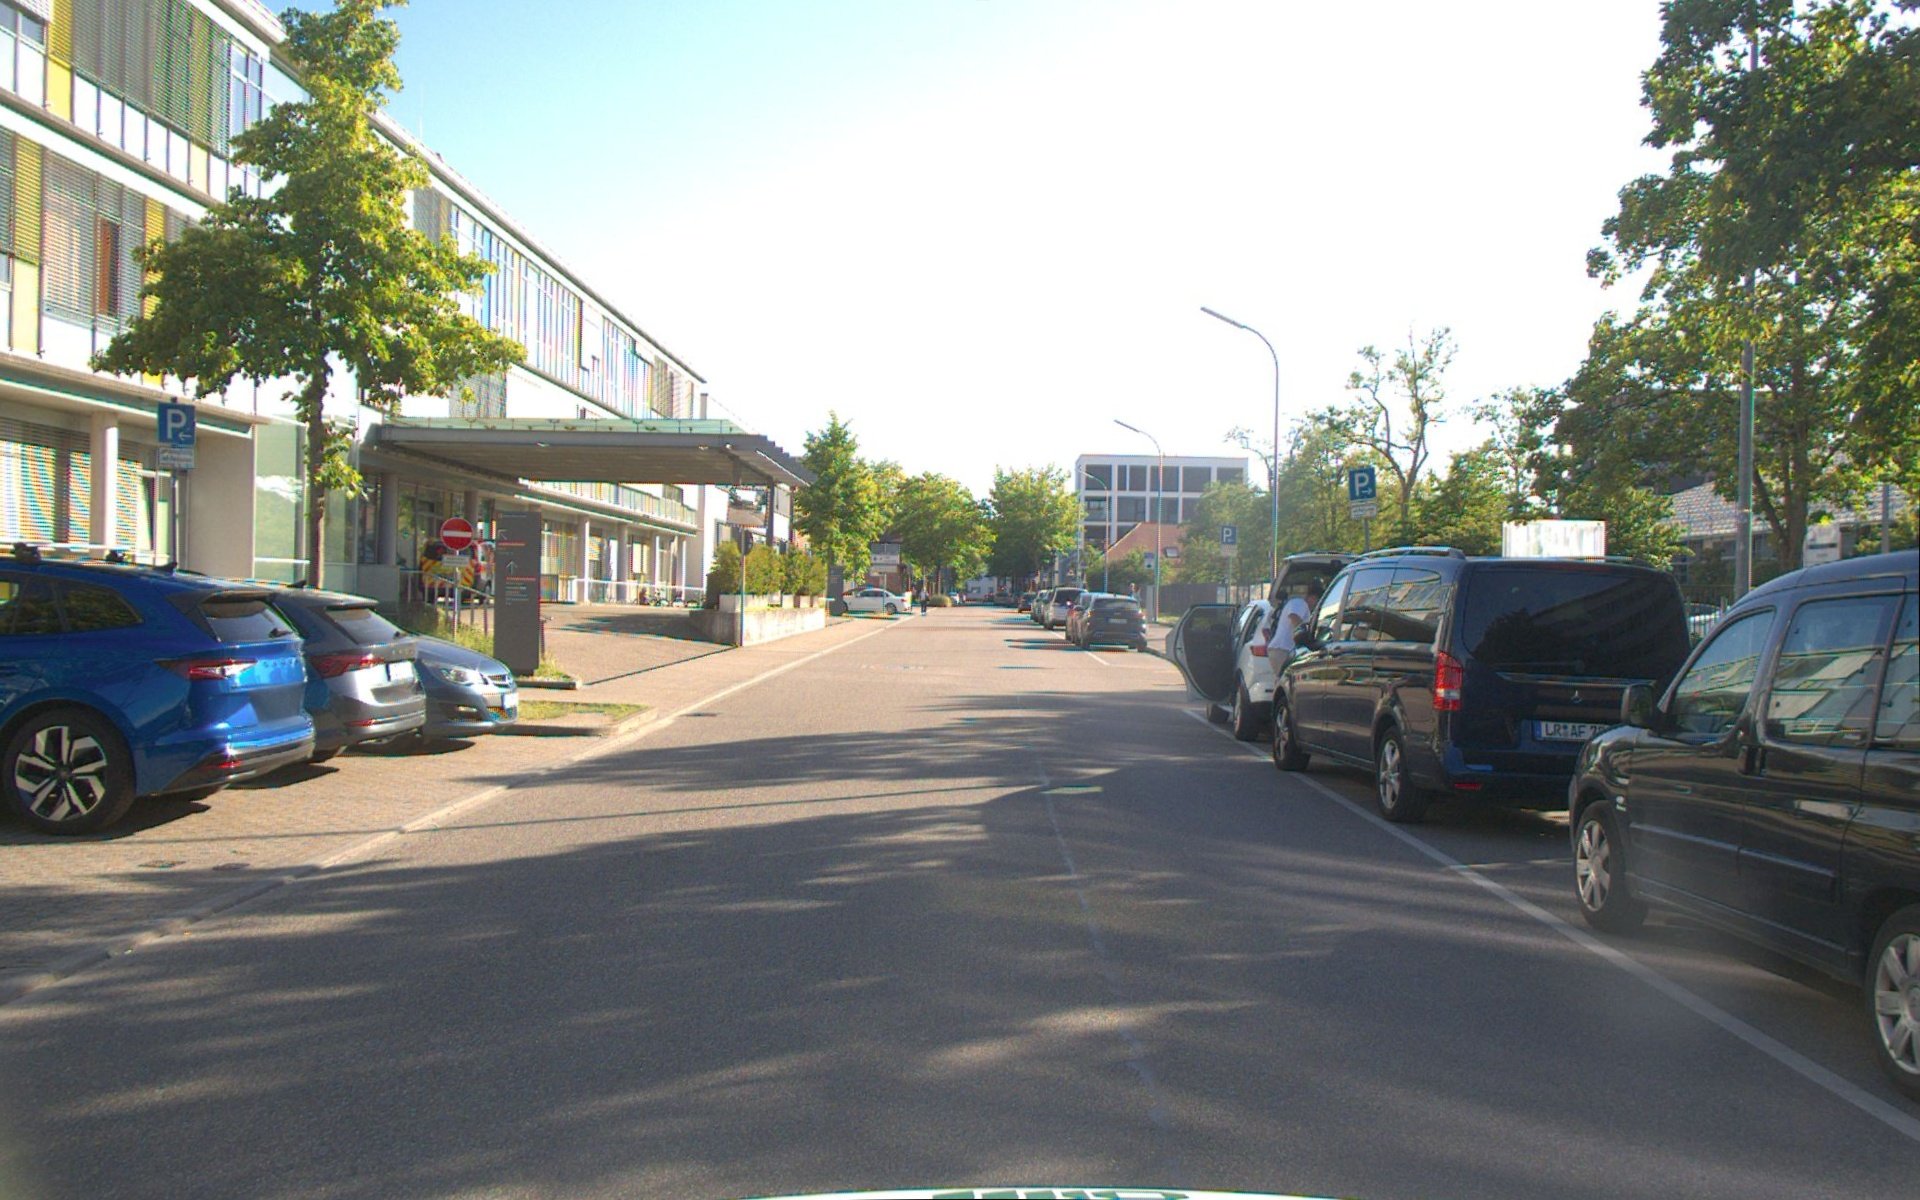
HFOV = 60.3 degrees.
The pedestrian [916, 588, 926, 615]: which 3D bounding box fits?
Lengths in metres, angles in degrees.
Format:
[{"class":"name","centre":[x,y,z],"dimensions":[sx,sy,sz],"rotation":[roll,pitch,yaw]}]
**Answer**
[{"class":"pedestrian","centre":[-2.266,0.062,95.984],"dimensions":[0.527,1.550,0.607],"rotation":[1,0,2]}]

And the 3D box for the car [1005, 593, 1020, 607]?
[{"class":"car","centre":[6.607,-0.006,209.427],"dimensions":[1.910,1.606,3.837],"rotation":[1,0,1]}]

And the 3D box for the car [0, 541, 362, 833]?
[{"class":"car","centre":[-6.273,0.472,10.602],"dimensions":[4.135,1.680,1.960],"rotation":[1,0,-2]}]

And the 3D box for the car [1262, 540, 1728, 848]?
[{"class":"car","centre":[3.901,0.581,13.133],"dimensions":[1.827,1.902,5.020],"rotation":[2,0,-2]}]

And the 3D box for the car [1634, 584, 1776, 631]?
[{"class":"car","centre":[23.866,0.226,53.050],"dimensions":[3.810,1.404,1.674],"rotation":[1,0,-3]}]

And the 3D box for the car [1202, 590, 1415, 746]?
[{"class":"car","centre":[3.913,0.688,19.201],"dimensions":[1.630,1.540,4.115],"rotation":[3,0,1]}]

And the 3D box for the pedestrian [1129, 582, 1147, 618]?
[{"class":"pedestrian","centre":[8.282,-0.006,76.965],"dimensions":[0.667,1.639,0.540],"rotation":[3,-1,-2]}]

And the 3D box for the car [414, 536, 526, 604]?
[{"class":"car","centre":[-14.573,-0.877,49.465],"dimensions":[1.880,1.924,4.711],"rotation":[1,0,0]}]

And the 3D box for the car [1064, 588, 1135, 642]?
[{"class":"car","centre":[4.356,0.439,52.129],"dimensions":[1.772,1.536,4.722],"rotation":[3,0,0]}]

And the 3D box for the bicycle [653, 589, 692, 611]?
[{"class":"bicycle","centre":[-13.064,-0.007,75.257],"dimensions":[1.680,1.011,0.536],"rotation":[1,0,-1]}]

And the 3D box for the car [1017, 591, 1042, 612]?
[{"class":"car","centre":[4.977,0.077,119.120],"dimensions":[1.780,1.478,4.215],"rotation":[1,0,2]}]

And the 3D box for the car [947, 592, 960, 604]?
[{"class":"car","centre":[-0.883,-0.275,220.111],"dimensions":[1.731,1.513,3.999],"rotation":[1,0,-1]}]

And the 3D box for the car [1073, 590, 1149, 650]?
[{"class":"car","centre":[4.184,0.522,46.346],"dimensions":[1.666,1.513,4.215],"rotation":[3,0,0]}]

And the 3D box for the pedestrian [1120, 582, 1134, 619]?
[{"class":"pedestrian","centre":[7.858,0.021,77.653],"dimensions":[0.510,1.738,0.522],"rotation":[3,-1,-2]}]

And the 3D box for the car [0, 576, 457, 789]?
[{"class":"car","centre":[-6.155,0.590,12.897],"dimensions":[3.907,1.463,1.730],"rotation":[2,0,-2]}]

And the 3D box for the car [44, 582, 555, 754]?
[{"class":"car","centre":[-6.028,0.590,15.443],"dimensions":[4.047,1.492,1.753],"rotation":[0,0,-1]}]

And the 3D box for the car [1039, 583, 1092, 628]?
[{"class":"car","centre":[4.330,0.197,68.487],"dimensions":[1.772,1.752,4.704],"rotation":[3,0,0]}]

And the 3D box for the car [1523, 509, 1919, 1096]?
[{"class":"car","centre":[3.863,0.649,6.718],"dimensions":[1.667,1.826,4.295],"rotation":[3,0,1]}]

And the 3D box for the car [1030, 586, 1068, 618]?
[{"class":"car","centre":[4.884,0.096,91.364],"dimensions":[1.776,1.616,4.261],"rotation":[3,0,-1]}]

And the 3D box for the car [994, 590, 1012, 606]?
[{"class":"car","centre":[4.410,-0.213,170.445],"dimensions":[1.731,1.575,4.065],"rotation":[1,0,-1]}]

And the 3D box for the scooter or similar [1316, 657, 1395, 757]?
[{"class":"scooter or similar","centre":[3.967,1.056,16.567],"dimensions":[0.677,0.921,0.705],"rotation":[3,0,19]}]

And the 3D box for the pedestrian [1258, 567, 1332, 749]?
[{"class":"pedestrian","centre":[3.404,0.576,16.770],"dimensions":[0.576,1.776,0.705],"rotation":[3,0,19]}]

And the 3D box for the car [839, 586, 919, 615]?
[{"class":"car","centre":[-4.591,0.009,93.941],"dimensions":[4.423,1.391,1.698],"rotation":[3,0,-5]}]
